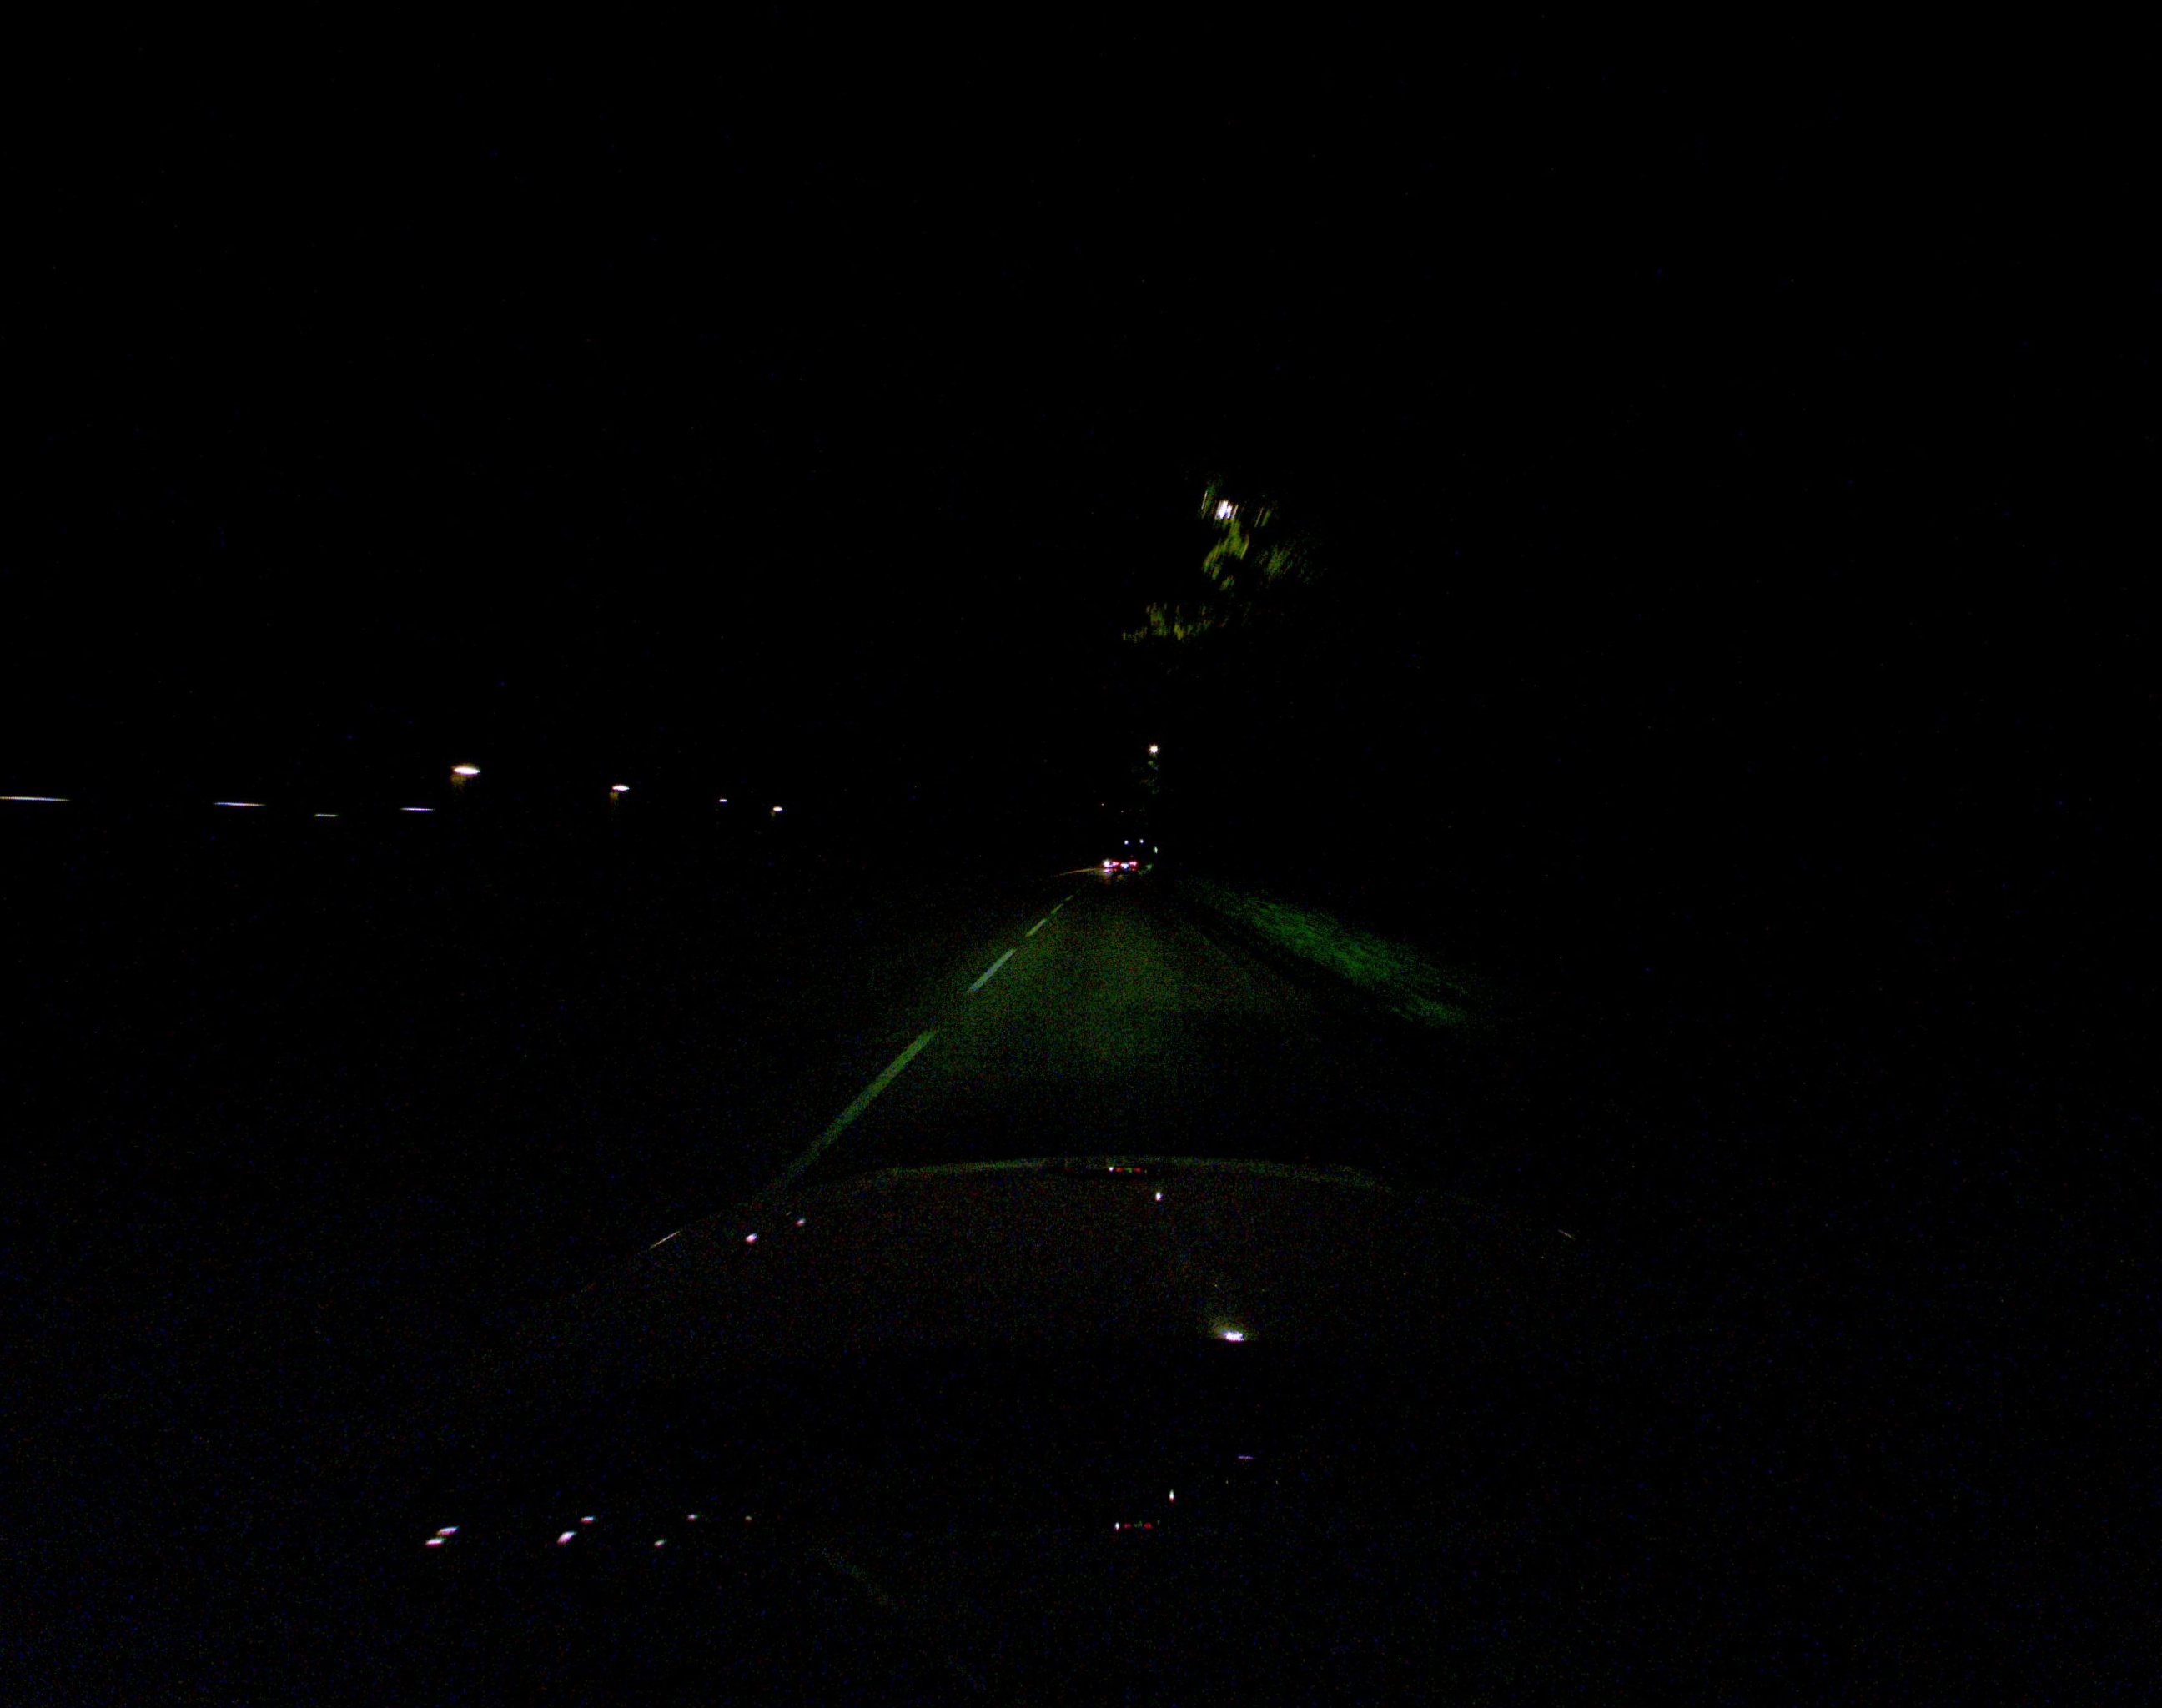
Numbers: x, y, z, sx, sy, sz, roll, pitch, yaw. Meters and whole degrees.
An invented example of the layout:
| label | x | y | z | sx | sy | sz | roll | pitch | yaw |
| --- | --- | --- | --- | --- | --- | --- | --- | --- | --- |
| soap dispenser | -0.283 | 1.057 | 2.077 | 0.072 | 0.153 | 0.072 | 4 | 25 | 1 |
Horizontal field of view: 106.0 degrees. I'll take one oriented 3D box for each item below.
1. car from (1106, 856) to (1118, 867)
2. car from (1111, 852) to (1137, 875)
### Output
| label | x | y | z | sx | sy | sz | roll | pitch | yaw |
| --- | --- | --- | --- | --- | --- | --- | --- | --- | --- |
| car | 4.375 | 1.095 | 114.298 | 1.680 | 1.457 | 4.003 | -1 | -1 | 3 |
| car | 3.157 | 0.690 | 59.813 | 1.757 | 1.642 | 3.723 | -1 | -1 | 1 |
